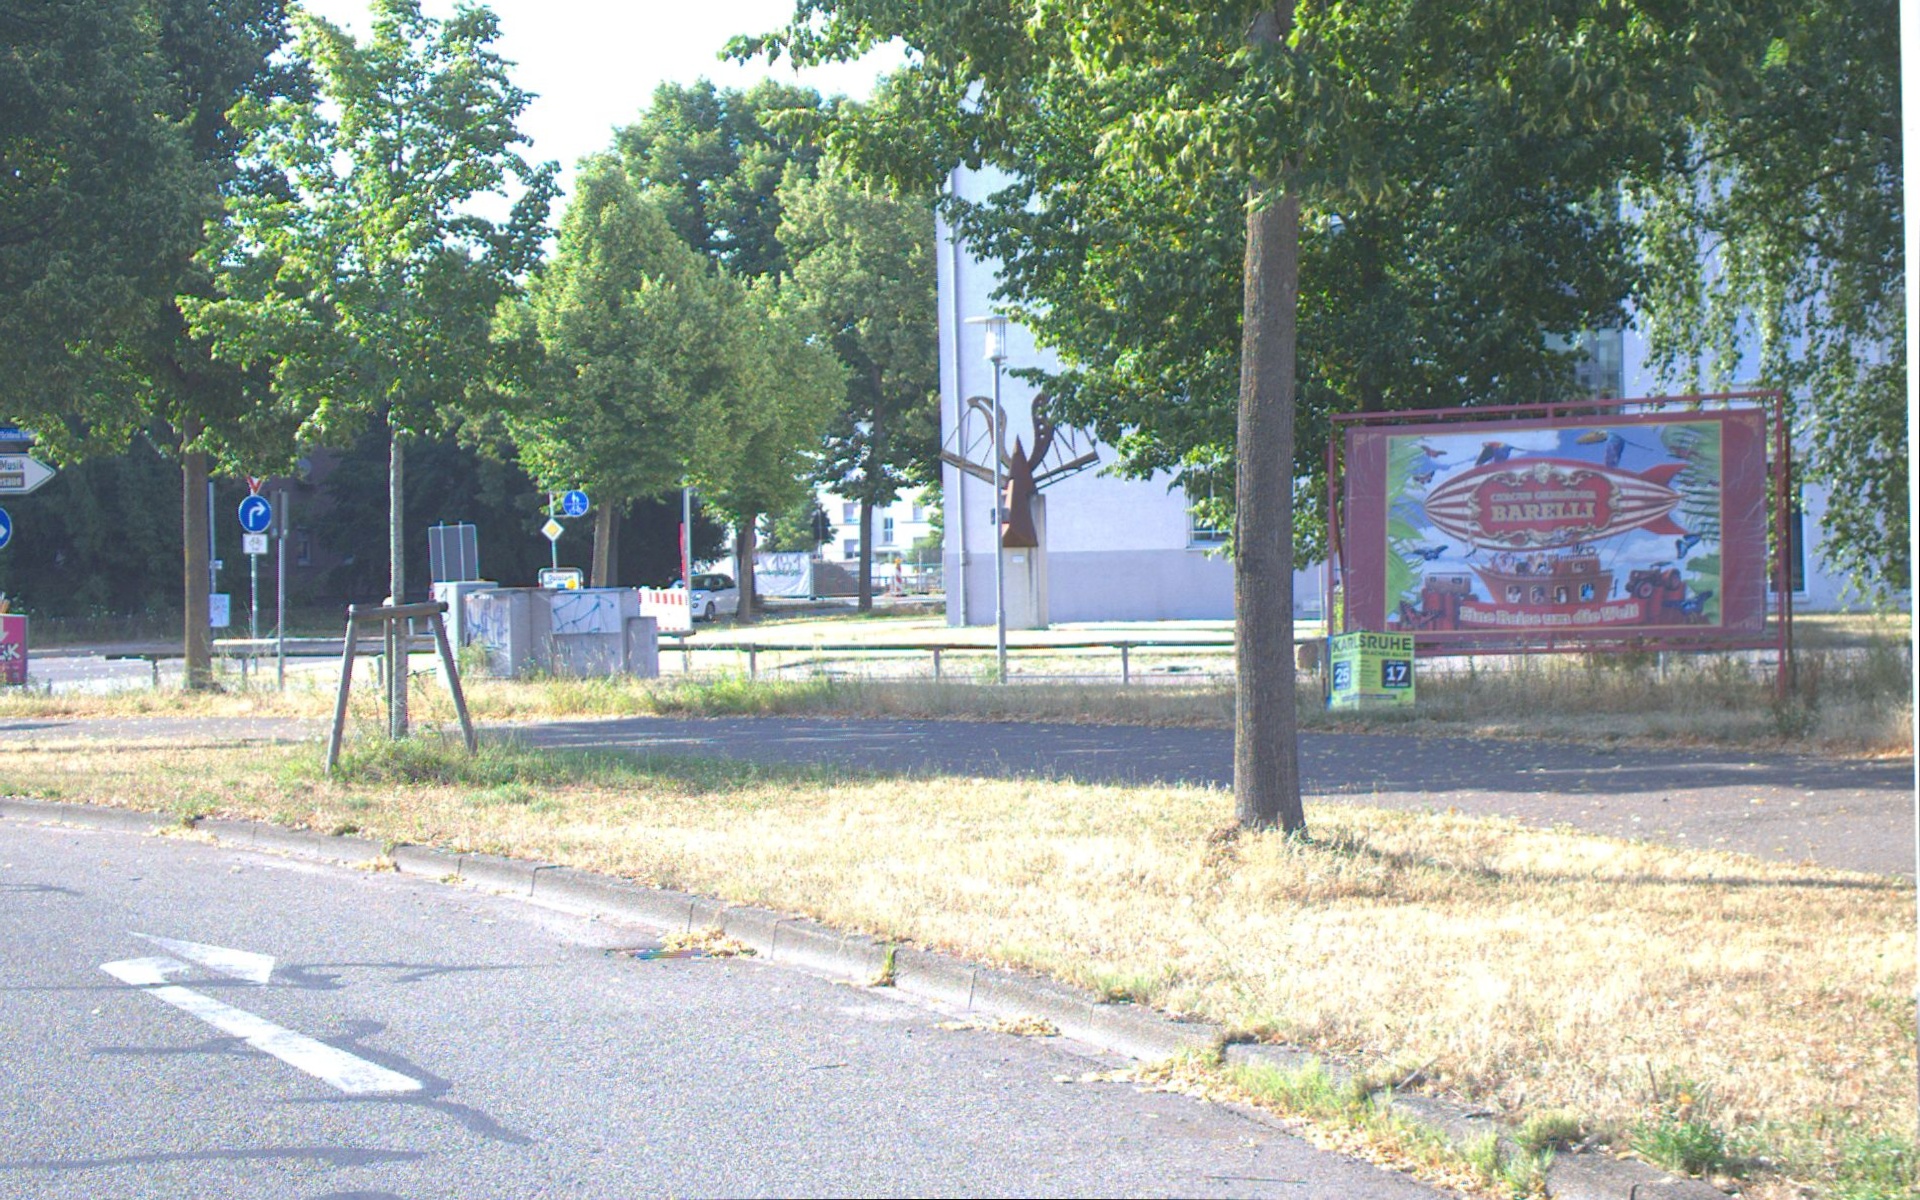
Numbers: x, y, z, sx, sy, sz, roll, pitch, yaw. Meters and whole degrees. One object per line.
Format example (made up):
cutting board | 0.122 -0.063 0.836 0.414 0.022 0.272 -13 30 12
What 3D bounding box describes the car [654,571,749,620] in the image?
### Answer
car | -7.889 -0.142 105.274 1.585 1.437 3.549 -1 0 19
